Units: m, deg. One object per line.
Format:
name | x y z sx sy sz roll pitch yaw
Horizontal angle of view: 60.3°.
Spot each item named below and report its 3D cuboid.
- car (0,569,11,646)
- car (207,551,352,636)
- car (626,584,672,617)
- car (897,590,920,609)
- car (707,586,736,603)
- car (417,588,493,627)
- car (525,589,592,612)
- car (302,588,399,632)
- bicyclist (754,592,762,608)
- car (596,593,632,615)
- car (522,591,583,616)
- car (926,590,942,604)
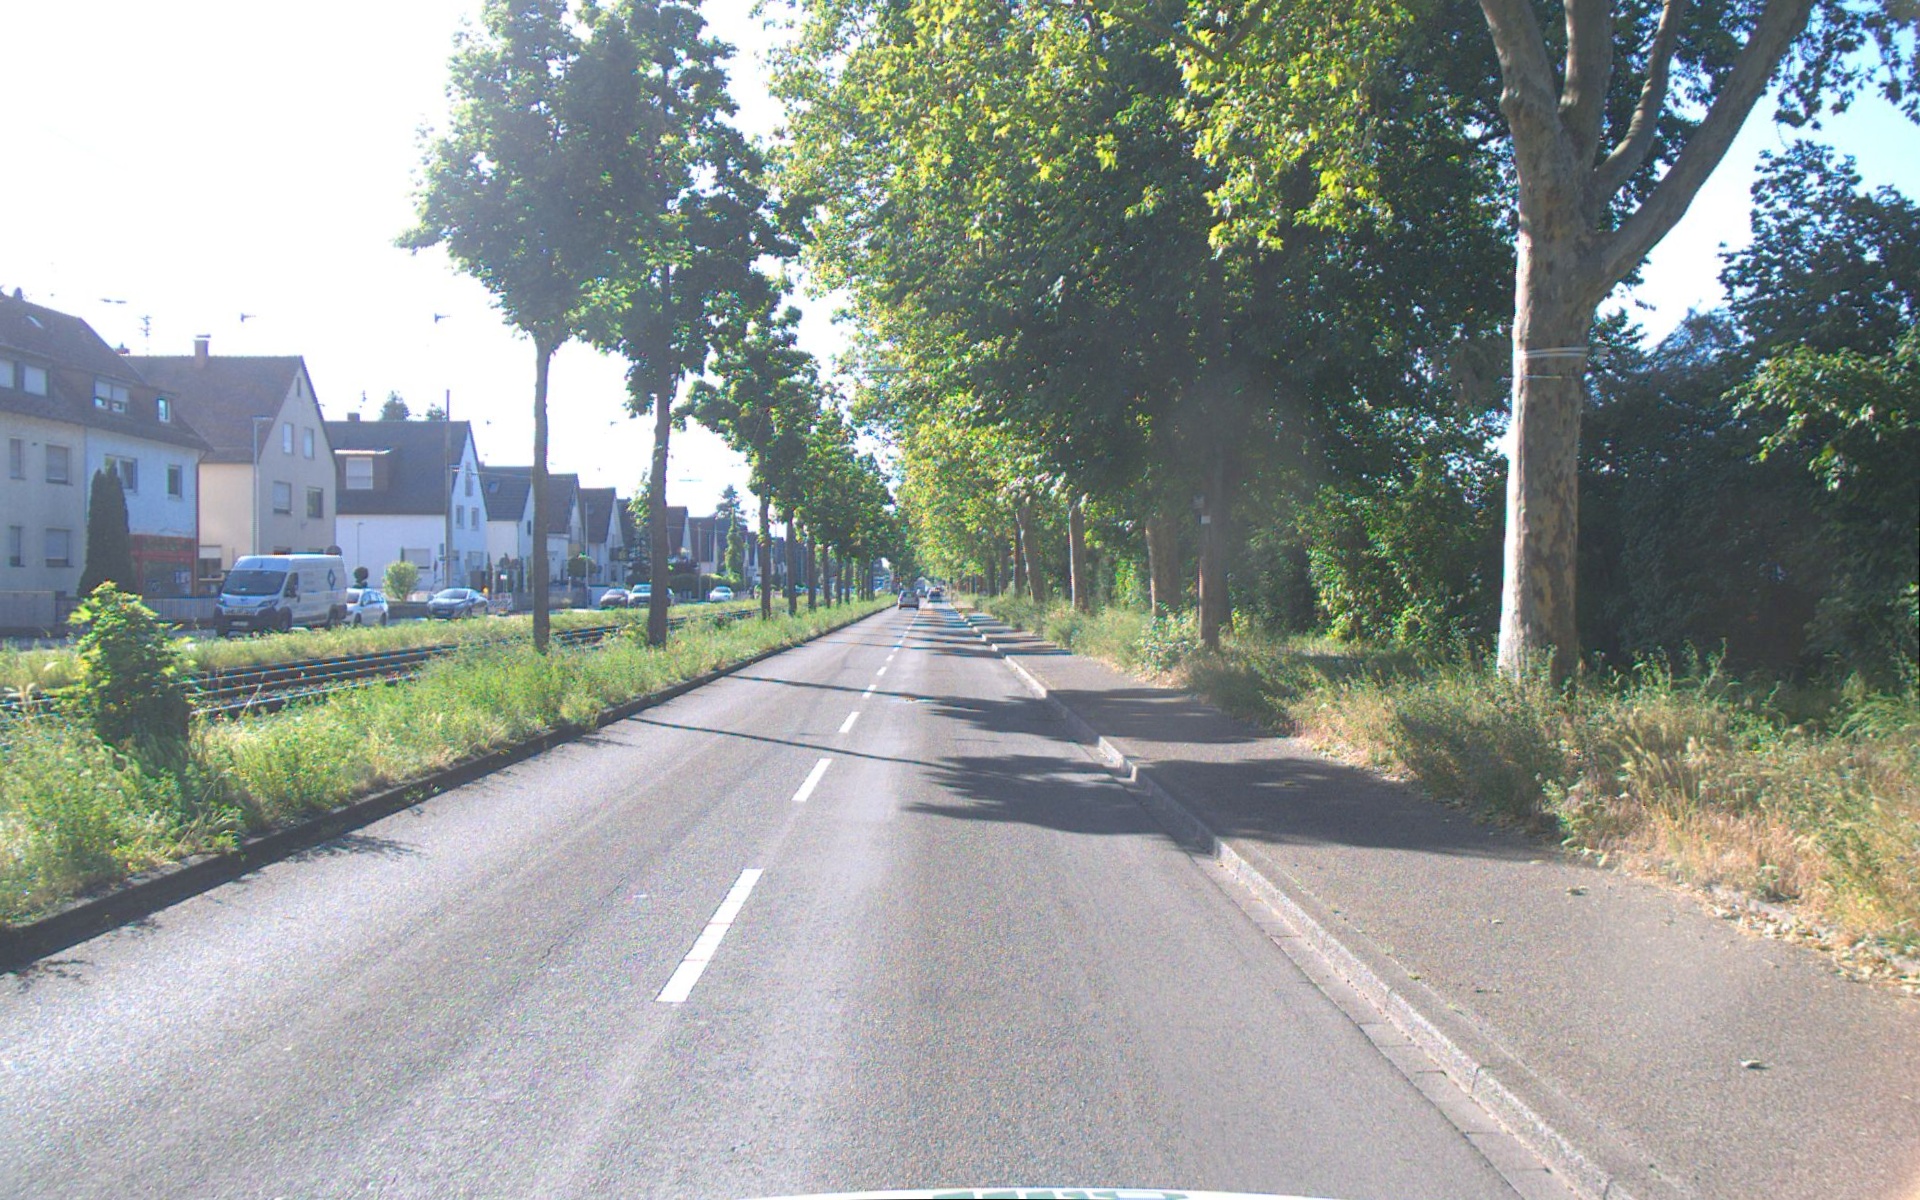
car | -26.756 0.176 42.068 4.064 1.986 1.994 0 0 -12
car | -21.595 -0.186 52.821 1.953 2.502 6.673 1 0 -1
car | -18.931 0.011 100.861 1.876 1.916 4.523 1 0 0
car | -3.975 -0.055 127.533 1.703 1.425 3.276 1 0 -1
car | -23.970 -0.583 166.342 1.952 1.627 4.733 1 0 2
car | -22.078 0.303 72.437 1.953 1.609 4.498 1 1 0
car | -27.492 0.051 113.381 4.131 1.489 1.936 1 0 -5
car | -21.651 0.347 58.932 1.787 1.437 4.656 1 0 -1
bicyclist | -21.330 0.026 174.884 0.674 1.681 0.881 1 0 -1
car | -23.029 0.264 110.225 1.463 1.349 4.000 1 0 0
car | -29.164 0.267 118.467 3.909 1.699 1.998 1 0 -5
car | -3.030 -0.354 192.622 1.725 1.539 3.276 1 0 0
